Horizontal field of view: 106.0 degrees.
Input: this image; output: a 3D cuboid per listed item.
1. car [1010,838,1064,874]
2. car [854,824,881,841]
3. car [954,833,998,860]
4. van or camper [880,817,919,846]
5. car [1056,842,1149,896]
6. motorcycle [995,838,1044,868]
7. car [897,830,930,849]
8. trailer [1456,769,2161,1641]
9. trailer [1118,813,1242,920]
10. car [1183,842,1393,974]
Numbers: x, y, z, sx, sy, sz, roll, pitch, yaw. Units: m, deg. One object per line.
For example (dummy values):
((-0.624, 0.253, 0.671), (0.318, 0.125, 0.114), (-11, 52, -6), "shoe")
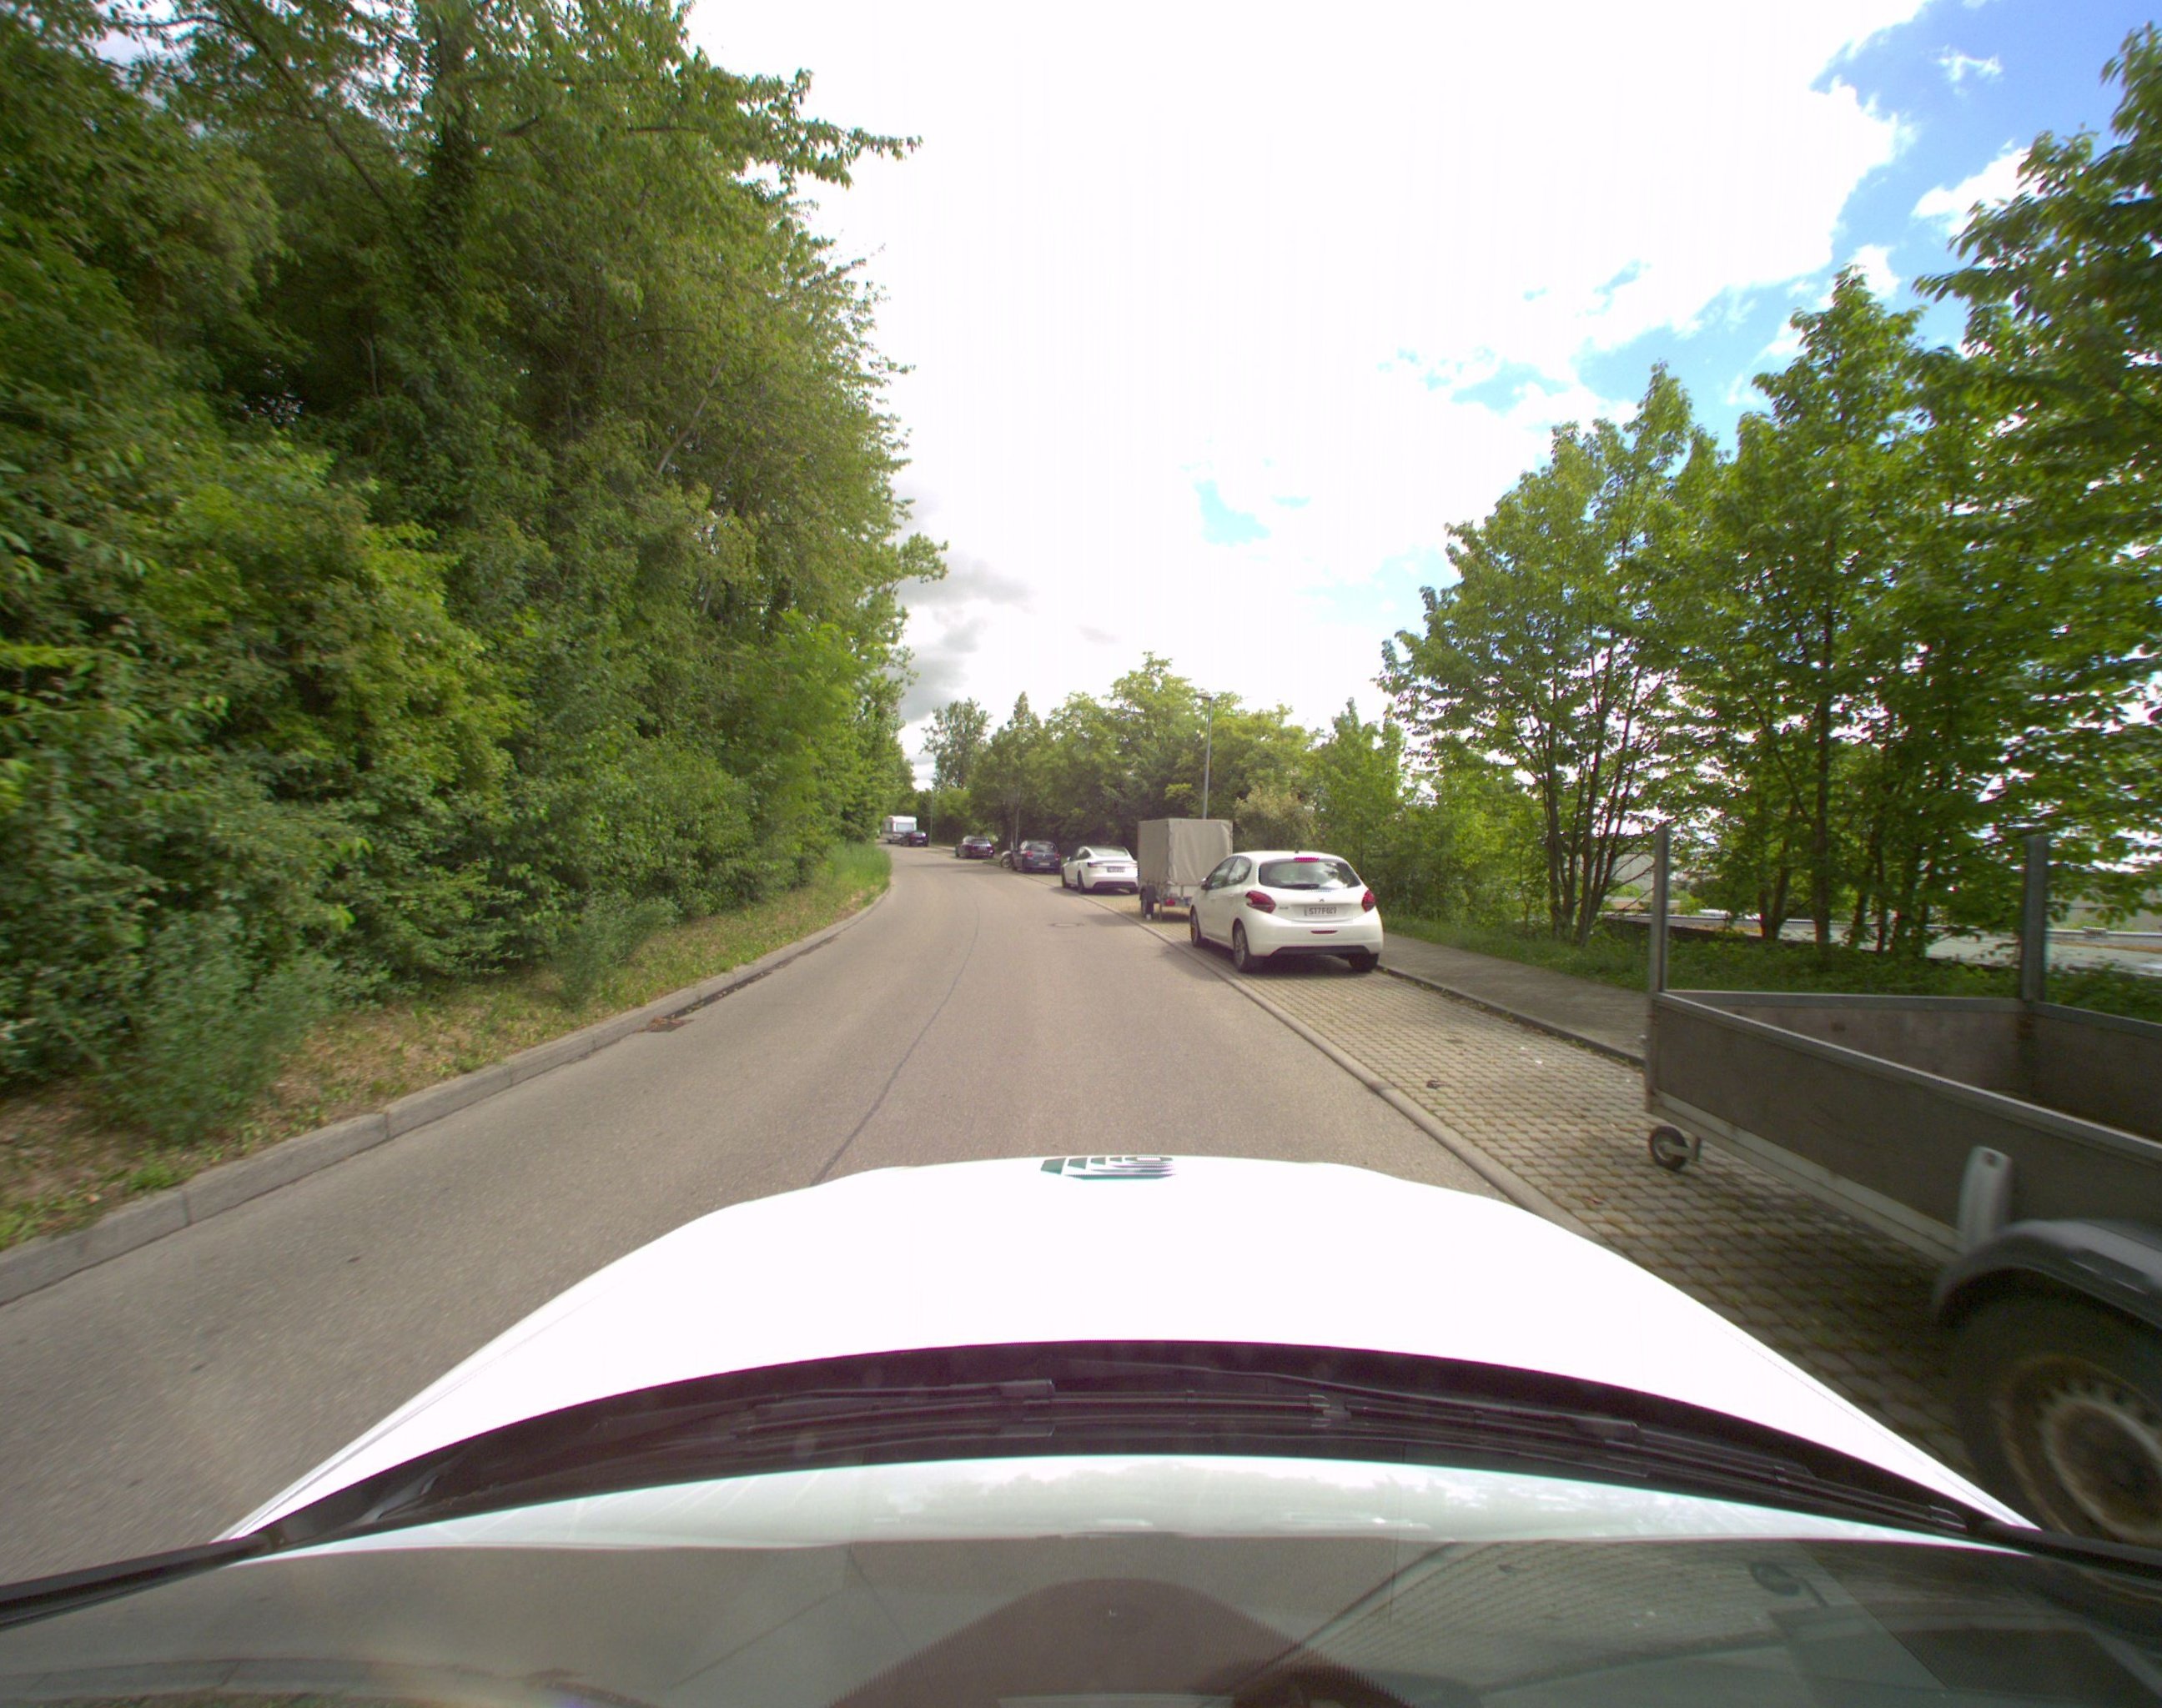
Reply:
((-2.078, 0.059, 37.651), (1.771, 1.517, 4.088), (1, 1, -14), "car")
((-22.825, -2.326, 87.043), (1.815, 1.599, 4.333), (0, 3, -29), "car")
((-6.812, -0.517, 52.469), (1.899, 1.529, 4.518), (1, 2, -19), "car")
((-16.910, -2.130, 75.510), (2.367, 2.553, 5.031), (0, 3, -27), "van or camper")
((0.566, 0.395, 26.096), (1.864, 1.477, 4.882), (0, 2, -12), "car")
((-3.102, -0.064, 41.259), (2.291, 1.475, 0.978), (0, 1, 9), "motorcycle")
((-14.519, -1.266, 70.379), (1.691, 1.450, 4.442), (1, 2, -27), "car")
((2.857, 0.631, 2.014), (1.804, 1.579, 4.489), (0, 0, 0), "trailer")
((2.021, 0.221, 17.722), (1.729, 2.078, 3.772), (0, 0, -9), "trailer")
((2.608, 0.598, 11.171), (1.703, 1.477, 3.778), (0, 0, -4), "car")
